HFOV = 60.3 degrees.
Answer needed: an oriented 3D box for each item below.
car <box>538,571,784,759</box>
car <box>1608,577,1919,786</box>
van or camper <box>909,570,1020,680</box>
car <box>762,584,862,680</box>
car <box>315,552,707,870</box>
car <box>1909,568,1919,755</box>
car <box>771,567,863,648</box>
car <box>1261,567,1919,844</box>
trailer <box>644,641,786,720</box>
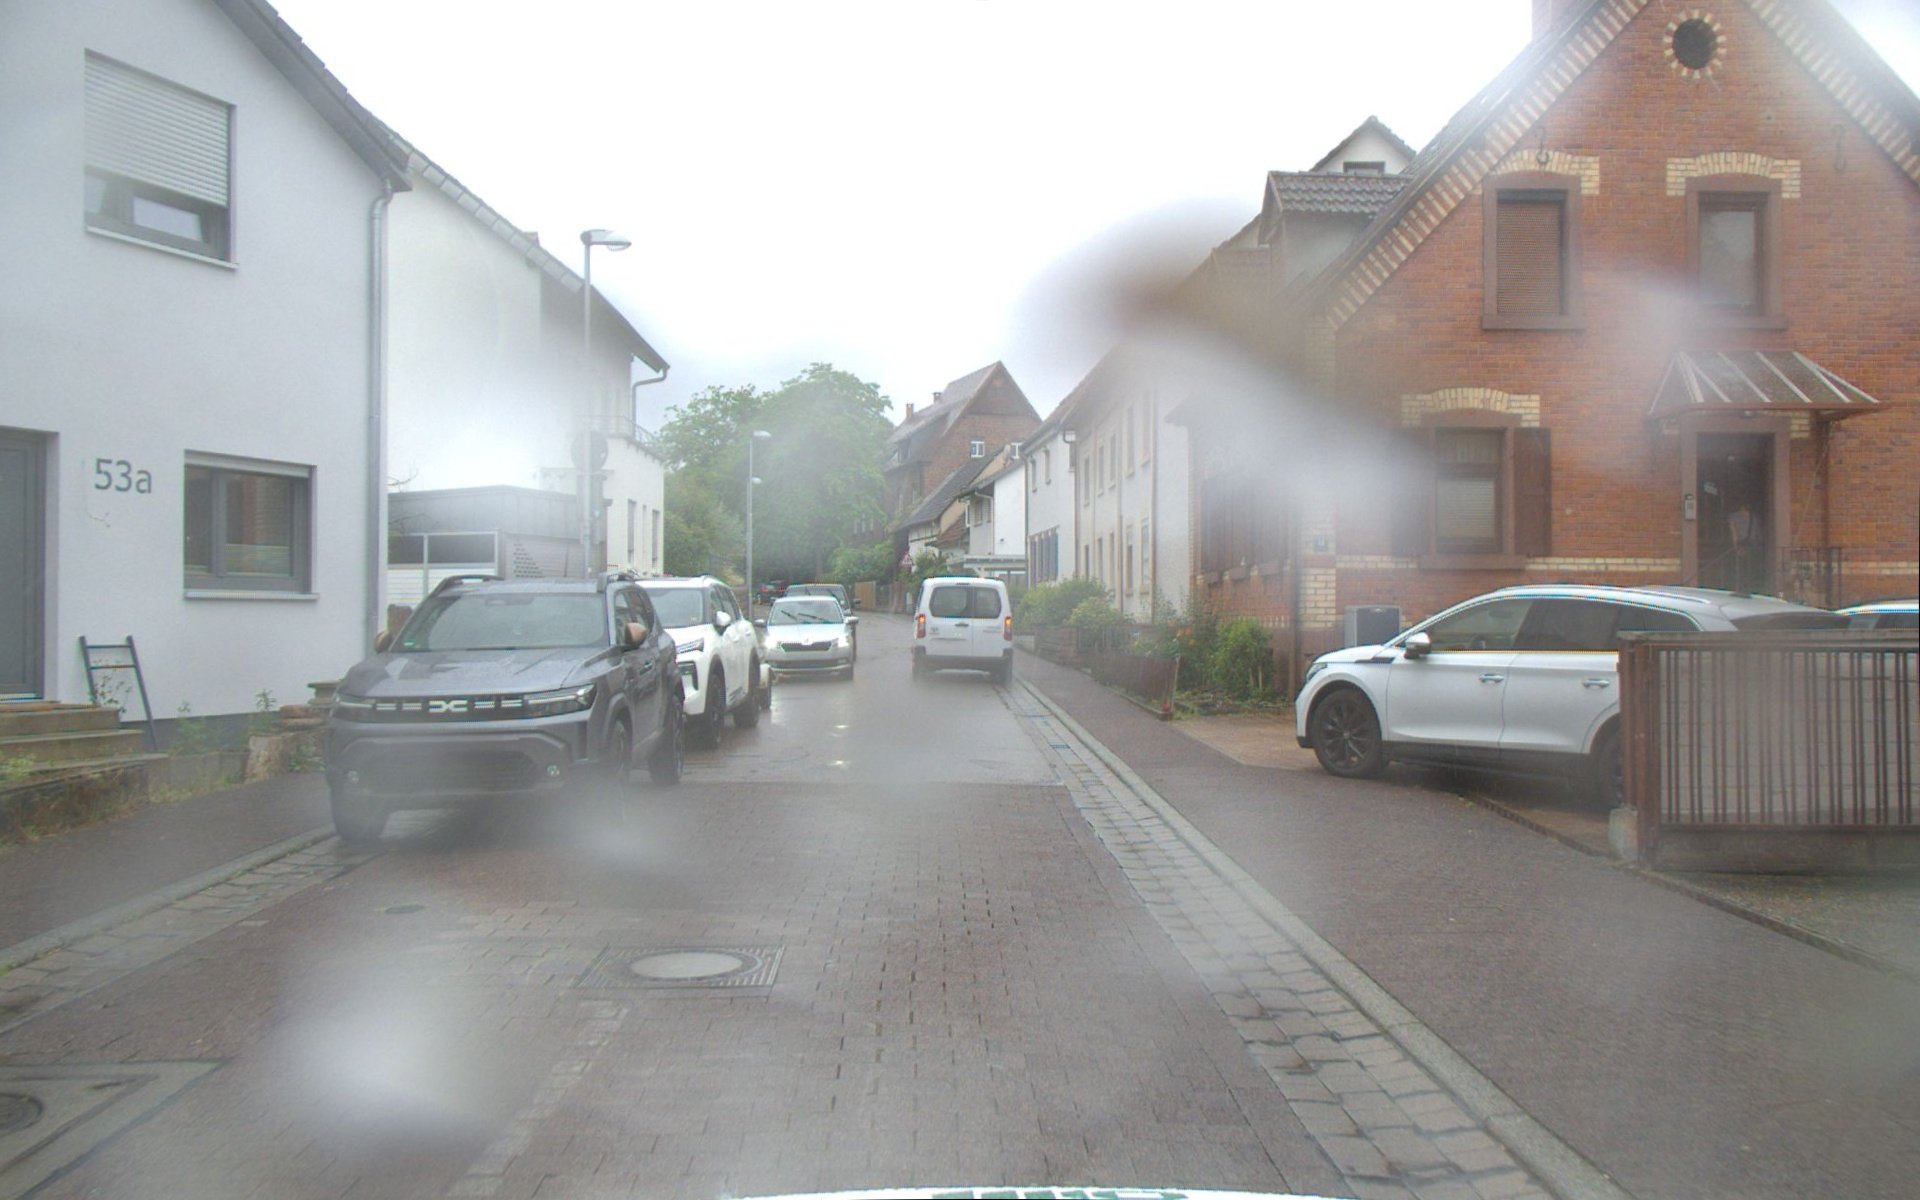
[{"bbox_3d":[-3.036,0.613,17.698,1.713,1.665,4.418,-3,0,0],"label":"car"},{"bbox_3d":[7.744,0.607,13.790,1.849,1.543,4.255,-1,2,-27],"label":"car"},{"bbox_3d":[0.040,0.406,30.334,1.904,1.883,3.999,0,1,-1],"label":"van or camper"},{"bbox_3d":[-2.721,0.569,30.152,1.656,1.592,3.929,-1,-1,-6],"label":"car"},{"bbox_3d":[-2.921,0.602,11.658,1.776,1.810,4.016,-1,1,-3],"label":"car"},{"bbox_3d":[10.377,0.550,13.629,1.781,1.704,4.190,-4,2,-24],"label":"car"},{"bbox_3d":[-3.292,0.123,38.406,1.954,1.706,4.779,-2,1,-5],"label":"car"},{"bbox_3d":[4.608,0.625,12.820,1.854,1.617,4.567,0,3,-33],"label":"car"},{"bbox_3d":[-3.105,1.011,21.335,1.453,0.843,2.675,-3,-1,-1],"label":"trailer"}]
